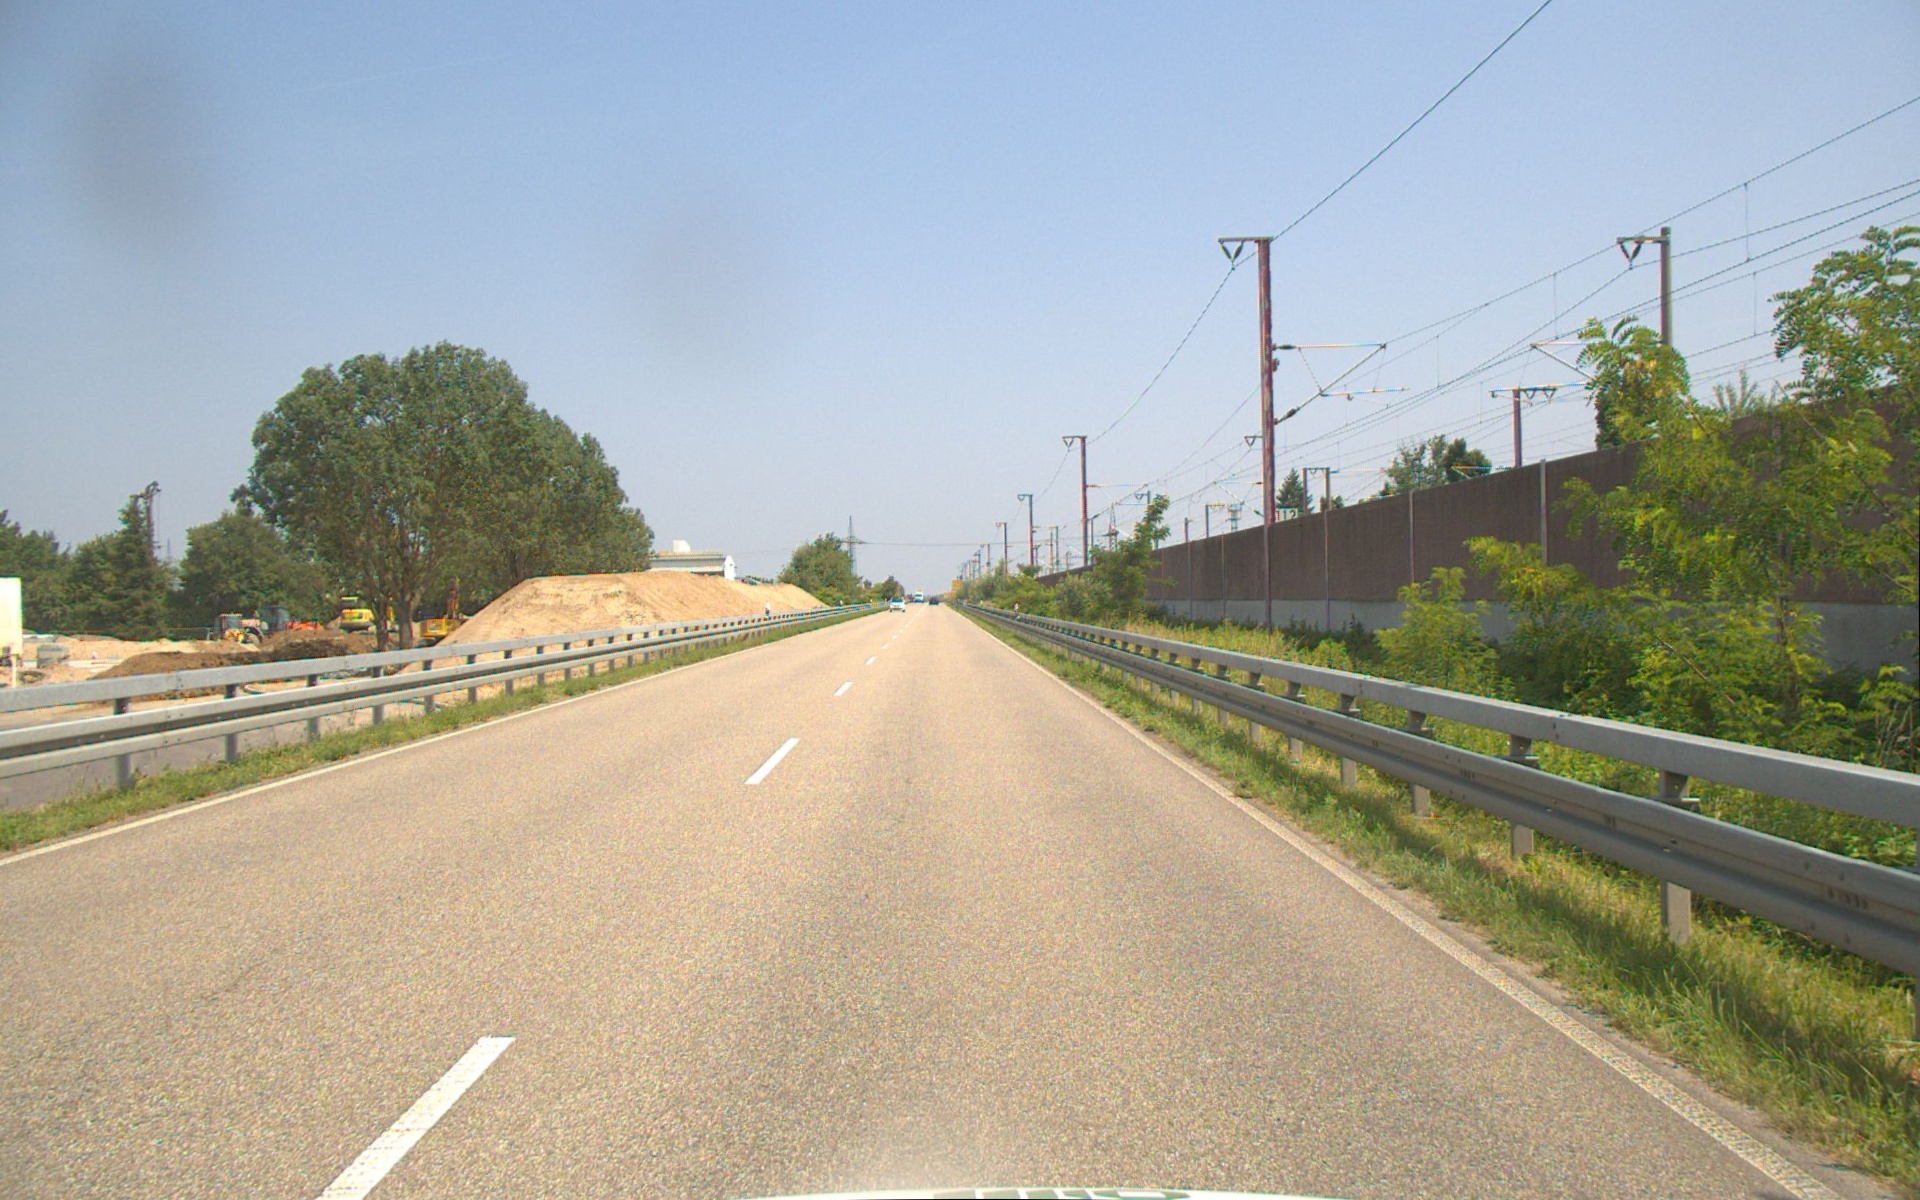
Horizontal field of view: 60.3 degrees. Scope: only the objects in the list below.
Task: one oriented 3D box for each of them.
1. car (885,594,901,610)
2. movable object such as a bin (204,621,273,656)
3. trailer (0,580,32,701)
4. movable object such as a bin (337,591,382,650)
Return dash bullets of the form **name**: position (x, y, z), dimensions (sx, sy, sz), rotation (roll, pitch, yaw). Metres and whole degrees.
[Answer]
- **car**: position (-6.870, 0.180, 168.768), dimensions (1.563, 1.604, 3.827), rotation (0, 0, -2)
- **movable object such as a bin**: position (-48.504, 2.566, 111.275), dimensions (3.922, 2.048, 1.992), rotation (-3, 0, -15)
- **trailer**: position (-36.324, 1.506, 58.904), dimensions (2.626, 4.408, 7.945), rotation (0, 1, -5)
- **movable object such as a bin**: position (-39.905, 1.342, 109.969), dimensions (2.582, 3.716, 5.429), rotation (-3, 0, -19)
